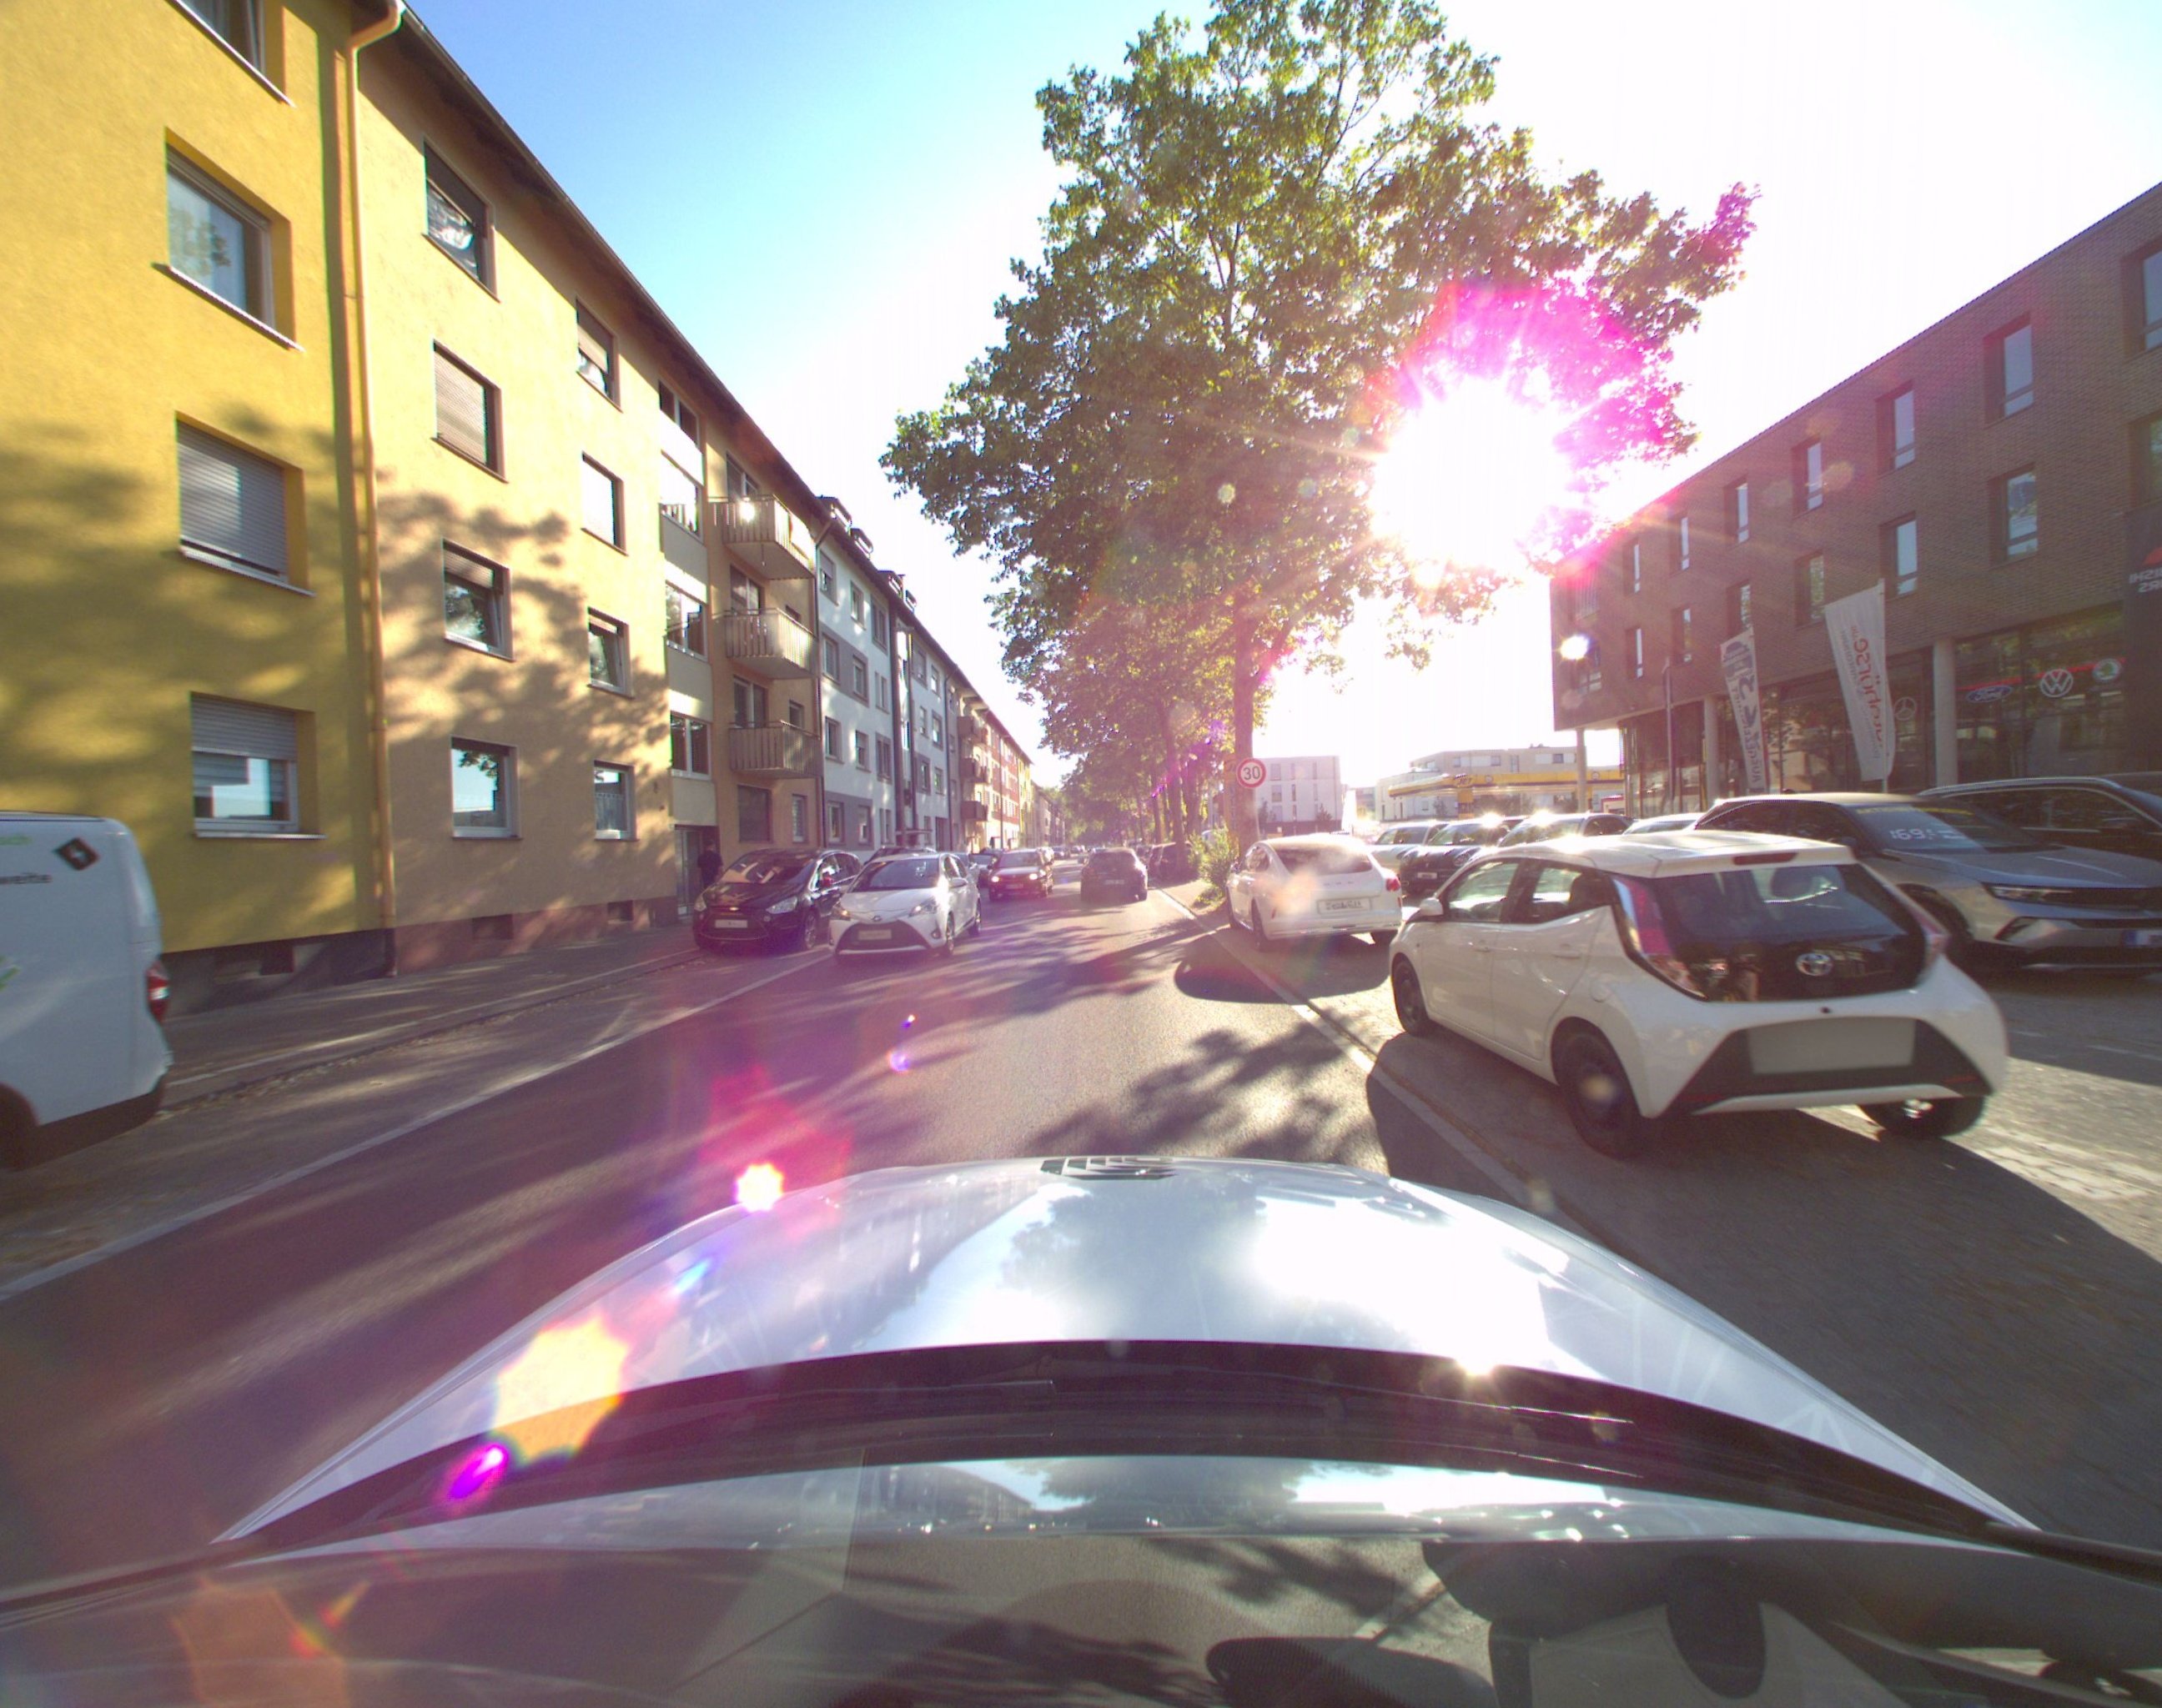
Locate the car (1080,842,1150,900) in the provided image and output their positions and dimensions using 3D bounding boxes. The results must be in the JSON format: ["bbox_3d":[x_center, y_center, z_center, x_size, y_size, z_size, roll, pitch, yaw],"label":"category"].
[{"bbox_3d":[1.035,0.417,22.969,1.736,1.443,3.975,-1,1,5],"label":"car"}]

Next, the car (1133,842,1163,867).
[{"bbox_3d":[4.304,0.004,52.978,1.716,1.557,3.602,-1,0,1],"label":"car"}]

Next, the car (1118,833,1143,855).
[{"bbox_3d":[4.726,-0.964,78.444,1.988,2.014,3.997,-2,-1,-1],"label":"car"}]

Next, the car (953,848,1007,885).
[{"bbox_3d":[-4.240,0.479,34.730,1.590,1.433,4.219,-1,1,2],"label":"car"}]

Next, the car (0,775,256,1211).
[{"bbox_3d":[-5.695,0.656,2.029,1.727,1.906,5.213,-1,1,3],"label":"car"}]

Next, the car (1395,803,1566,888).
[{"bbox_3d":[8.827,-0.230,17.908,3.836,1.578,1.722,-4,2,-36],"label":"car"}]

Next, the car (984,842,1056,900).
[{"bbox_3d":[-1.806,0.455,25.436,1.657,1.523,4.414,-4,1,2],"label":"car"}]

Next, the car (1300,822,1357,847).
[{"bbox_3d":[19.279,-1.508,63.541,3.834,1.711,1.831,-3,1,-17],"label":"car"}]

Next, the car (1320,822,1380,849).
[{"bbox_3d":[19.371,-1.351,58.706,3.845,1.711,1.825,-3,1,-26],"label":"car"}]

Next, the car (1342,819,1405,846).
[{"bbox_3d":[19.471,-1.410,54.216,3.845,1.588,1.684,-3,1,-26],"label":"car"}]

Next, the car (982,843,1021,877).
[{"bbox_3d":[-4.082,0.265,42.330,1.591,1.629,3.839,-1,1,1],"label":"car"}]

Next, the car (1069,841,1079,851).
[{"bbox_3d":[-1.405,-1.529,162.493,1.900,1.948,4.001,-2,-1,1],"label":"car"}]

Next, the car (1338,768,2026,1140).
[{"bbox_3d":[3.182,0.414,5.466,1.629,1.468,4.022,-4,0,1],"label":"car"}]

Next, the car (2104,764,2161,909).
[{"bbox_3d":[13.368,-0.214,7.866,1.721,1.684,4.180,-3,1,0],"label":"car"}]

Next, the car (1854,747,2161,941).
[{"bbox_3d":[10.556,-0.135,7.963,1.820,1.731,4.368,-3,1,0],"label":"car"}]

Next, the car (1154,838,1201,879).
[{"bbox_3d":[3.929,0.167,33.653,1.554,1.596,3.602,-1,0,1],"label":"car"}]

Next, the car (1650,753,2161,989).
[{"bbox_3d":[7.851,0.071,7.962,1.745,1.669,4.160,-2,1,2],"label":"car"}]

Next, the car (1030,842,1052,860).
[{"bbox_3d":[-3.659,-0.274,75.237,1.706,1.562,3.803,2,1,2],"label":"car"}]

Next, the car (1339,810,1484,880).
[{"bbox_3d":[8.789,-0.264,21.551,3.836,1.578,1.727,-4,2,-36],"label":"car"}]

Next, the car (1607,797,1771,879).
[{"bbox_3d":[13.204,-0.379,17.636,3.835,1.510,1.626,-4,2,-34],"label":"car"}]

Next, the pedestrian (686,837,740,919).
[{"bbox_3d":[-8.167,0.511,18.120,0.763,1.769,0.933,0,1,1],"label":"pedestrian"}]

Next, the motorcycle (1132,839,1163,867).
[{"bbox_3d":[3.741,-0.055,45.756,1.647,1.557,0.607,-1,0,-20],"label":"motorcycle"}]

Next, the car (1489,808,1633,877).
[{"bbox_3d":[12.320,-0.330,20.846,3.835,1.510,1.626,-4,2,-34],"label":"car"}]

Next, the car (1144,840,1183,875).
[{"bbox_3d":[3.958,0.152,39.522,1.554,1.596,3.602,-1,0,1],"label":"car"}]

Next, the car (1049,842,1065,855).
[{"bbox_3d":[-2.821,-0.665,96.535,1.706,1.562,3.803,2,1,2],"label":"car"}]

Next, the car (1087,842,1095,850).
[{"bbox_3d":[2.281,-1.716,184.405,1.895,1.661,4.001,-2,0,1],"label":"car"}]

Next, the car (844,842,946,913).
[{"bbox_3d":[-4.745,0.516,21.396,1.591,1.641,4.413,-1,1,1],"label":"car"}]

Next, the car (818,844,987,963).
[{"bbox_3d":[-2.628,0.649,12.922,1.633,1.523,3.936,-2,1,2],"label":"car"}]

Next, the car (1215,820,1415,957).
[{"bbox_3d":[3.262,0.407,12.324,1.803,1.538,4.587,-5,0,3],"label":"car"}]

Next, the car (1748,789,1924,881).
[{"bbox_3d":[14.681,-0.404,15.786,3.835,1.510,1.626,-4,2,-34],"label":"car"}]

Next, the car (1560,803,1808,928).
[{"bbox_3d":[9.061,0.093,12.171,3.833,1.545,1.646,-3,1,-32],"label":"car"}]

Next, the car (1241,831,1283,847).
[{"bbox_3d":[19.022,-1.528,85.603,3.974,1.529,1.807,-2,-1,0],"label":"car"}]

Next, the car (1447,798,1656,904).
[{"bbox_3d":[8.584,-0.113,14.780,3.835,1.609,1.723,-4,2,-34],"label":"car"}]

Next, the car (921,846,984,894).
[{"bbox_3d":[-4.514,0.511,29.111,1.542,1.523,4.006,-1,1,1],"label":"car"}]

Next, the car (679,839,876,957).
[{"bbox_3d":[-5.194,0.627,14.666,1.739,1.787,4.550,-1,1,1],"label":"car"}]
